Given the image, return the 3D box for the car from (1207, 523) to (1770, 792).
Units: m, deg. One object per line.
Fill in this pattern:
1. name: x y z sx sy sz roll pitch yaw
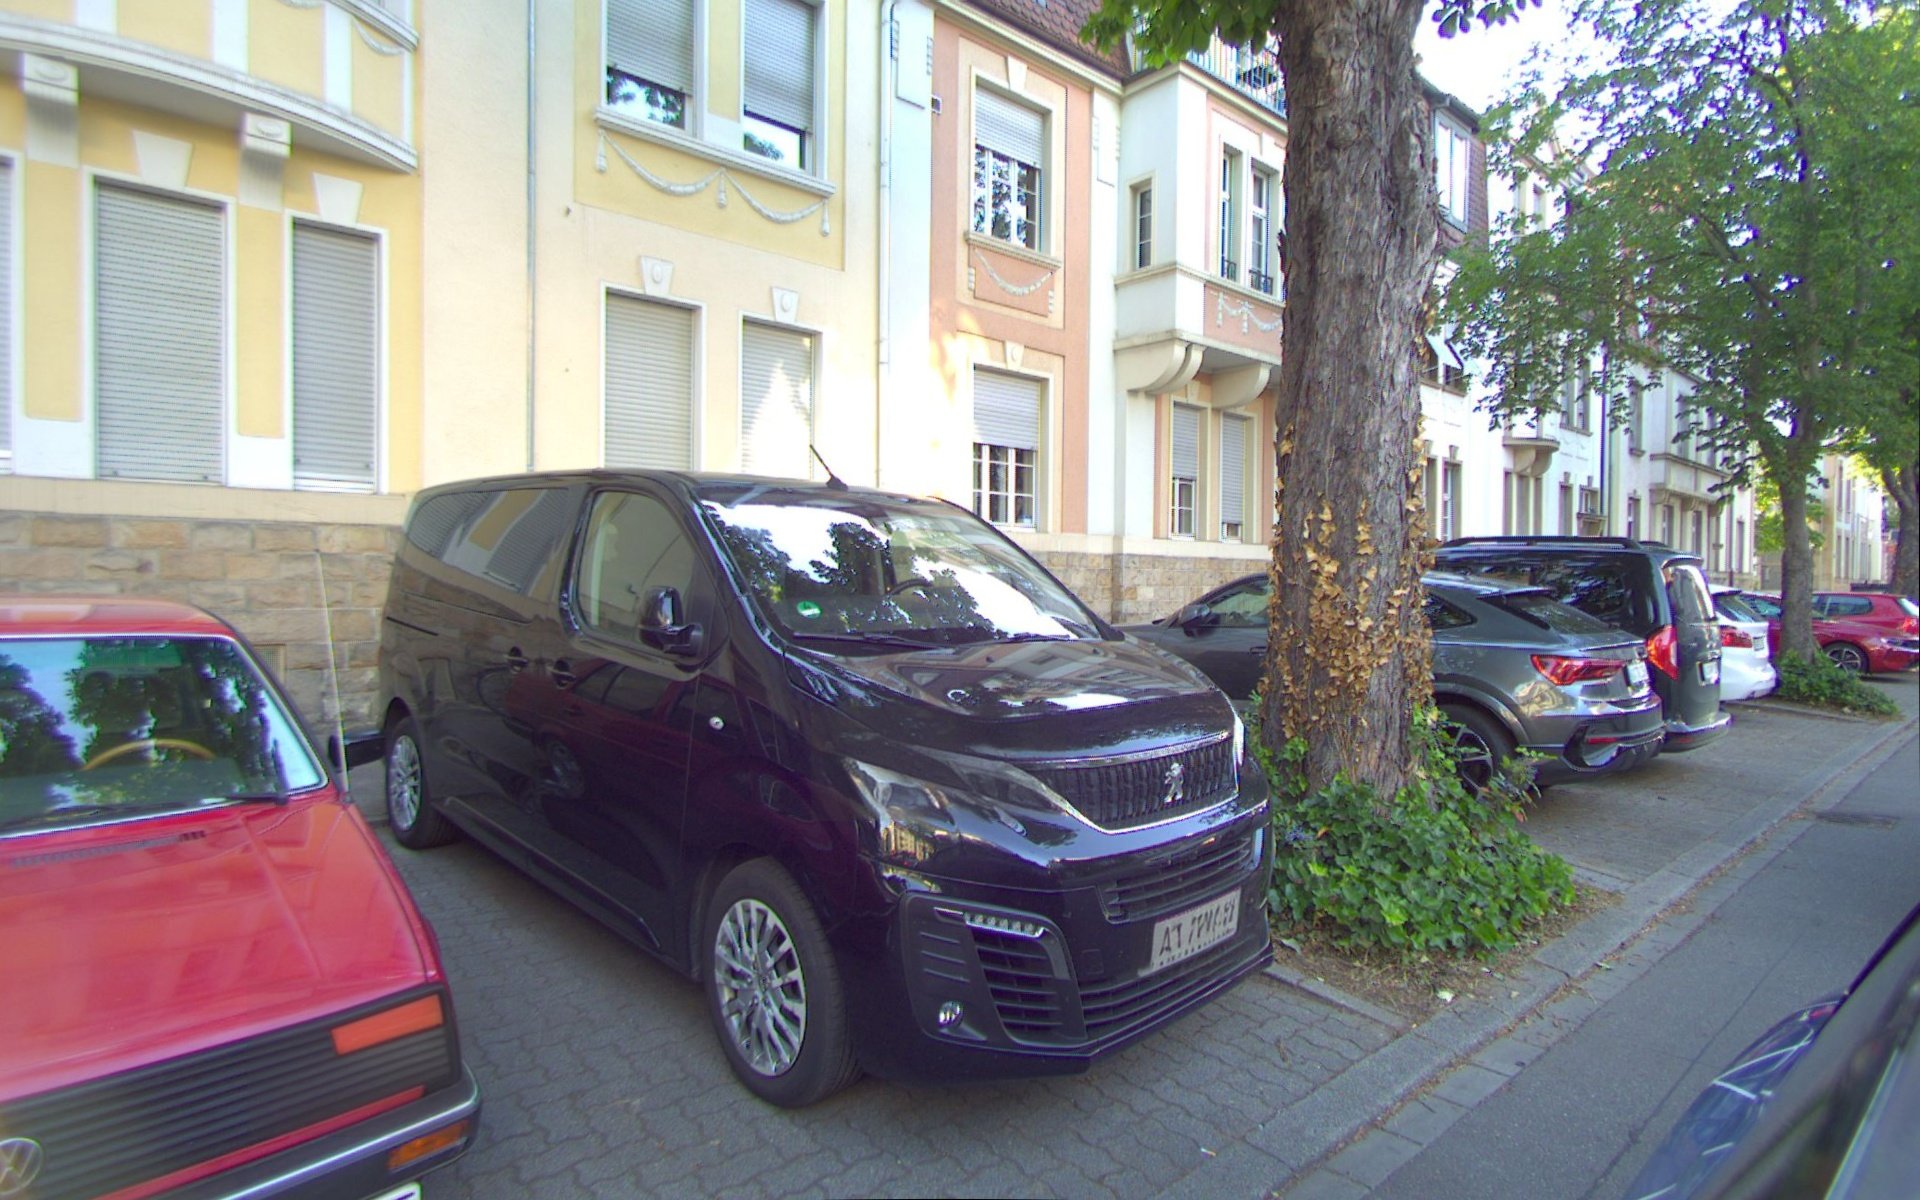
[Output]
1. car: 4.513 0.306 9.144 1.814 1.860 4.116 -1 3 -42

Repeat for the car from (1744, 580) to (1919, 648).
1. car: 21.847 0.293 24.973 1.548 1.484 3.681 0 3 -39

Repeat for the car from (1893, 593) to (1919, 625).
1. car: 34.269 0.374 34.531 1.515 1.076 3.399 0 3 -39

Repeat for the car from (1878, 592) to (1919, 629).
1. car: 31.889 0.375 32.467 1.515 1.164 3.399 0 3 -39

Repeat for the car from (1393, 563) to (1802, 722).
1. car: 7.697 0.374 12.524 1.689 1.597 3.948 0 3 -41

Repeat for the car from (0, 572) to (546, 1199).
1. car: -2.879 0.627 3.033 1.603 1.332 4.139 -1 3 -44

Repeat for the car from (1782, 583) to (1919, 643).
1. car: 23.999 0.315 26.411 1.548 1.416 3.681 0 3 -39

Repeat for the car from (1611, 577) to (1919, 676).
1. car: 14.780 0.380 18.462 1.833 1.470 4.533 0 3 -38

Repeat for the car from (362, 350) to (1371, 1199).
1. car: -0.944 0.324 4.473 1.867 1.897 4.753 -1 3 -44

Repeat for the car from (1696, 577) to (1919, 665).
1. car: 16.889 0.350 19.818 1.628 1.499 3.682 0 2 -38

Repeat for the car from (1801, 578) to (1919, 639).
1. car: 25.864 0.227 28.032 1.548 1.576 3.681 0 3 -39

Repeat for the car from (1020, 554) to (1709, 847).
1. car: 2.739 0.460 7.700 1.815 1.542 4.513 -1 3 -44
